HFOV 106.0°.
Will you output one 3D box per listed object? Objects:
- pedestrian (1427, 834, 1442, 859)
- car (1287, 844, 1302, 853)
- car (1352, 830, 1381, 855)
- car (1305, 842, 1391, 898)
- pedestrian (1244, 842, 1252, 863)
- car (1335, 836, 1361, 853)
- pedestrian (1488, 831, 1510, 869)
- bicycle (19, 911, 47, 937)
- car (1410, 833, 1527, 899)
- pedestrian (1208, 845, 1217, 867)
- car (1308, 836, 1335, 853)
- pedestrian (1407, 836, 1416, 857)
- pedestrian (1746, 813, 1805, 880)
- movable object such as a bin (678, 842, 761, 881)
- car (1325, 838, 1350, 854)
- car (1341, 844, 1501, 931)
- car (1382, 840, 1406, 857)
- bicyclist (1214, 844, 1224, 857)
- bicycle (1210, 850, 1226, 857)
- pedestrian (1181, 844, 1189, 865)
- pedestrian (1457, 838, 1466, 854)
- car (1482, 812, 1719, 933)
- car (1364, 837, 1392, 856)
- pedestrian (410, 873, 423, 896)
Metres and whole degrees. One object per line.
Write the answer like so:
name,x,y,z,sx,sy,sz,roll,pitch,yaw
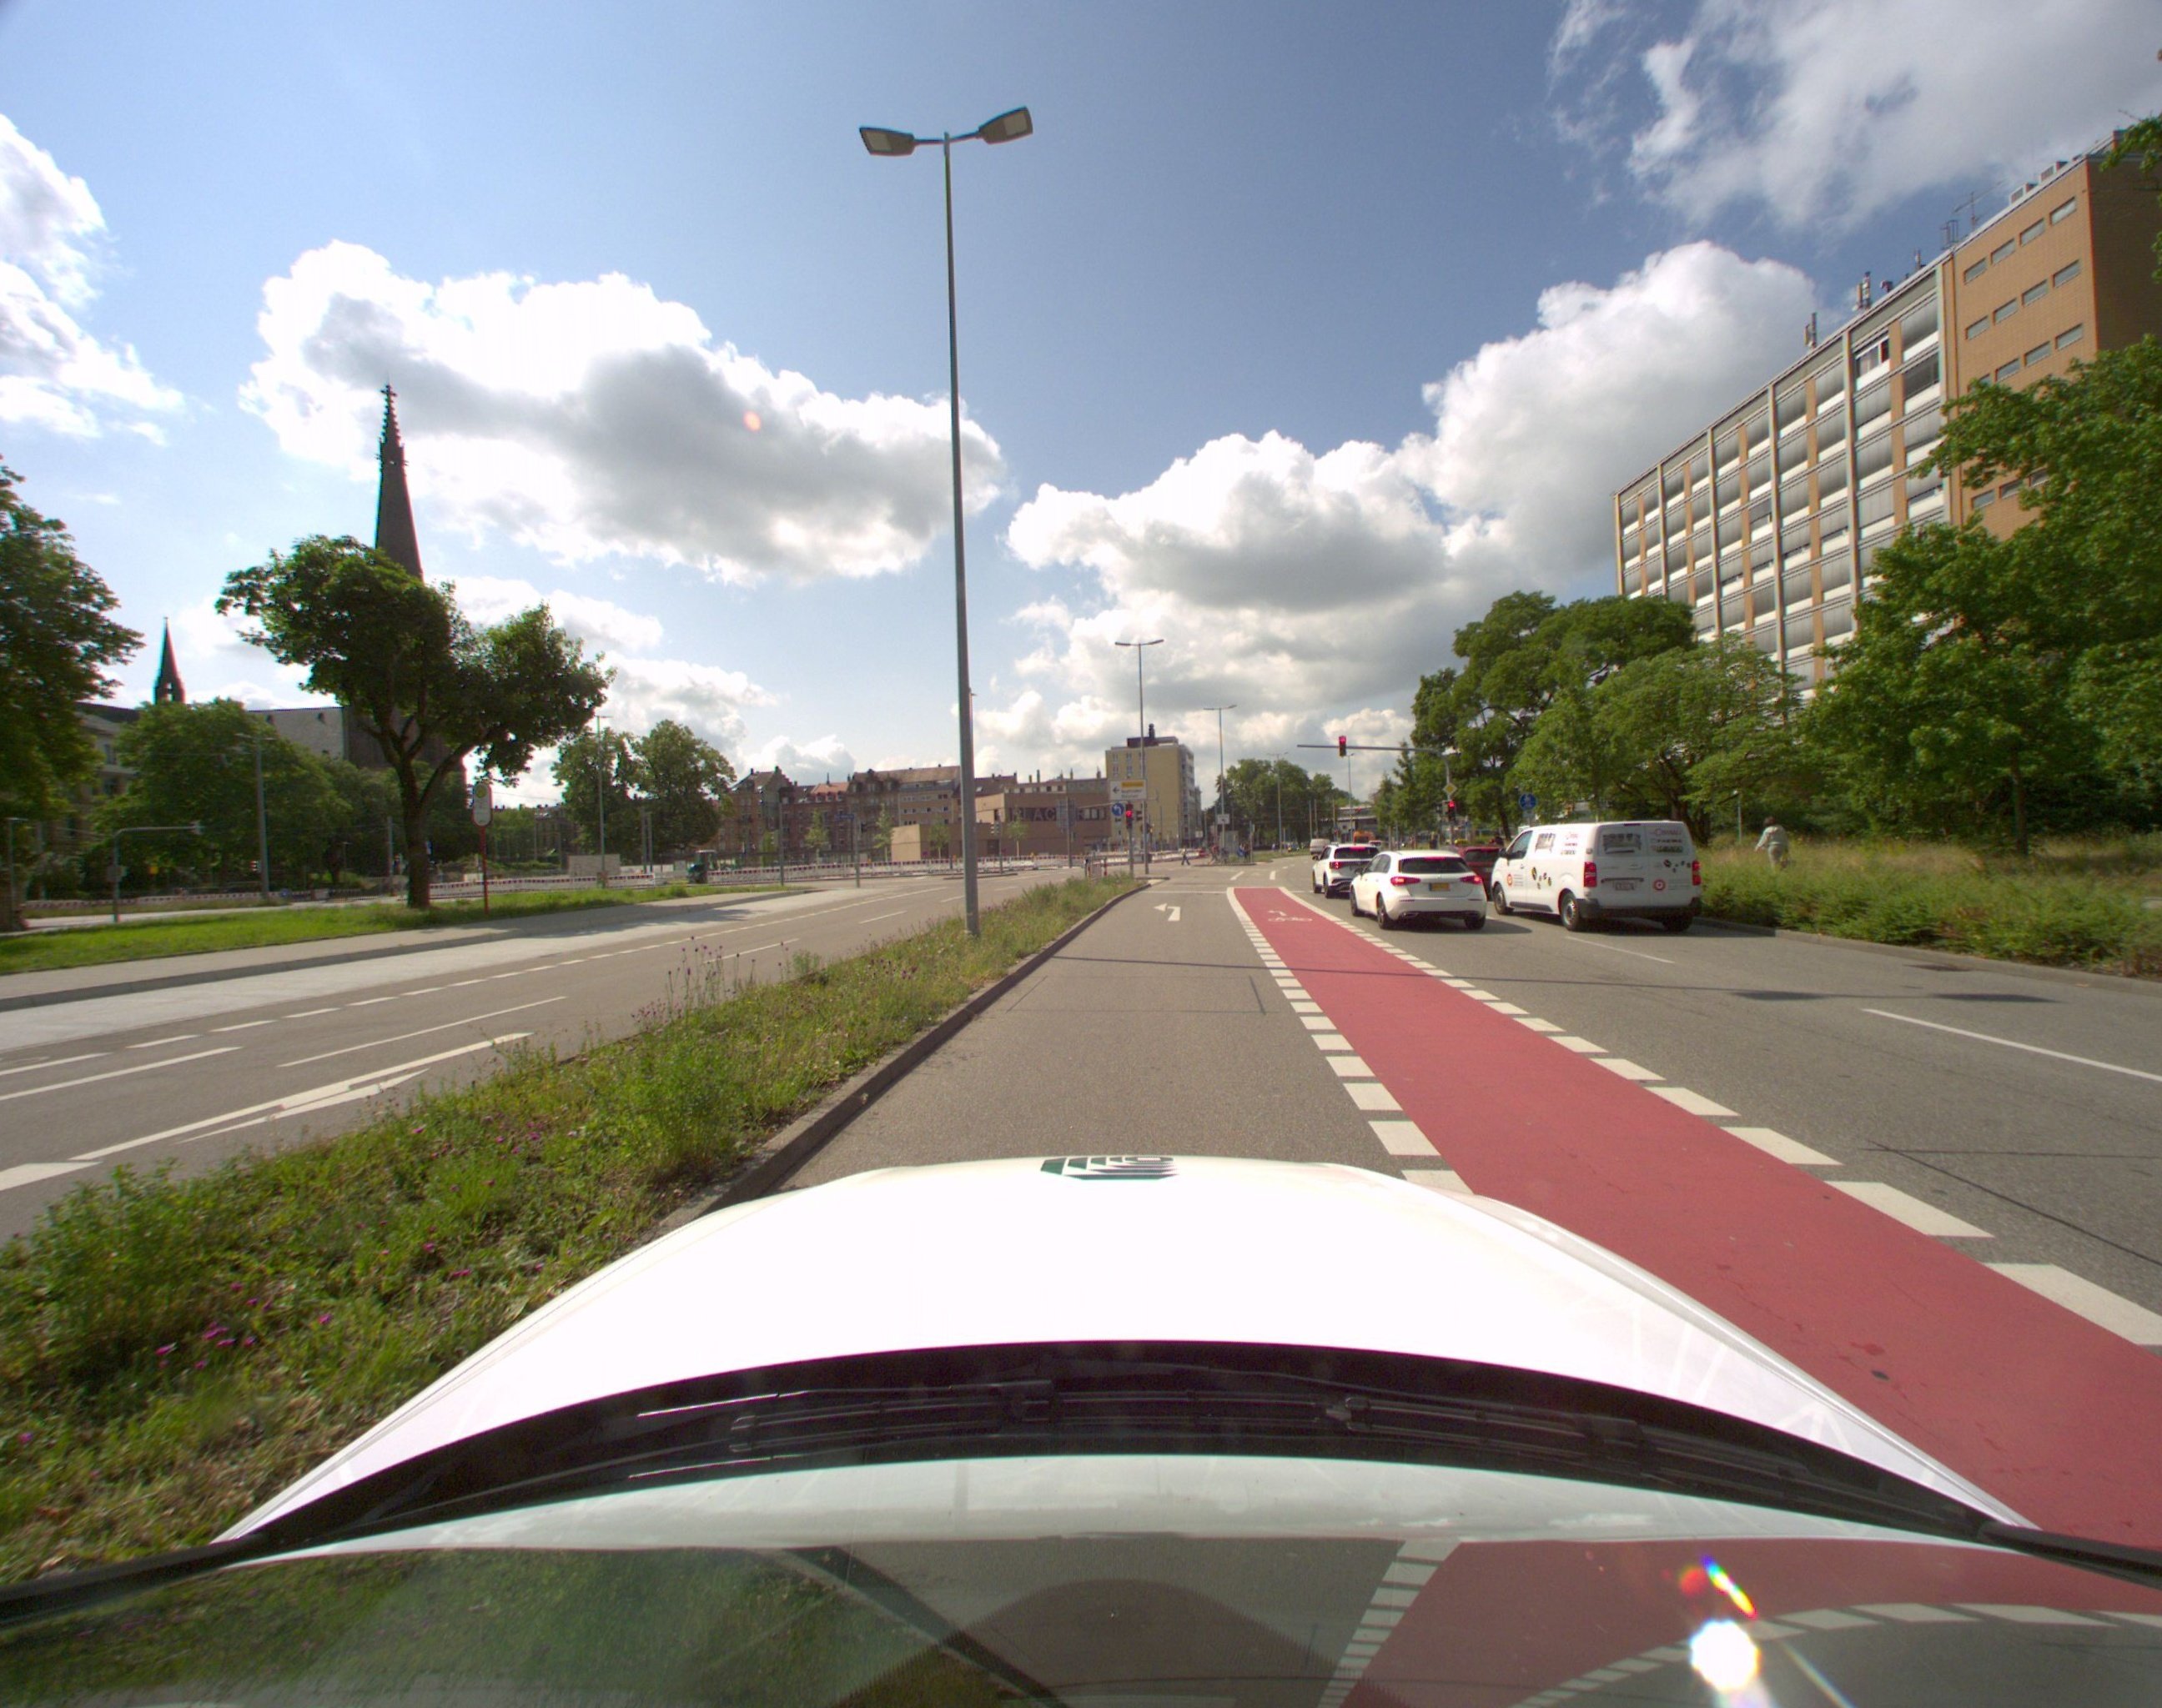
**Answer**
pedestrian,22.091,-0.485,50.888,0.765,1.508,0.554,-2,0,13
car,34.460,-0.933,131.311,1.777,1.388,4.249,-2,0,20
car,32.757,-1.335,93.426,2.109,2.780,4.668,-3,0,31
car,7.927,0.414,24.496,1.781,1.539,4.020,-1,1,8
pedestrian,13.526,-0.154,66.109,0.520,1.684,0.626,-2,0,17
car,32.279,-1.161,98.436,1.974,1.826,4.026,-3,0,33
pedestrian,19.434,-0.168,37.884,0.737,1.735,0.681,-2,0,14
bicycle,-43.421,2.877,33.758,0.396,0.992,1.504,-2,-1,-41
car,10.777,0.286,22.986,1.671,1.641,4.473,-2,0,8
pedestrian,10.485,0.183,64.985,0.520,1.733,0.626,-2,0,17
car,29.831,-1.138,100.755,1.986,1.966,4.668,-3,0,31
pedestrian,27.419,-0.619,67.545,0.654,1.733,0.581,-2,0,19
pedestrian,17.788,-0.192,20.884,0.863,1.638,0.723,-2,0,9
movable object such as a bin,-28.889,0.605,65.223,5.571,2.884,2.261,-2,0,-39
car,34.139,-1.086,108.215,1.972,1.938,4.668,-3,0,31
car,6.534,0.562,16.202,1.893,1.424,4.395,-2,0,8
car,40.194,-0.734,104.641,1.972,1.938,4.668,-3,0,31
bicyclist,21.601,-0.524,127.501,1.208,1.909,0.864,-2,0,28
bicycle,21.450,-0.098,127.581,2.356,1.066,0.864,-2,0,28
pedestrian,8.528,0.019,66.919,0.520,1.733,0.626,-2,0,17
pedestrian,42.753,-0.907,91.501,0.780,1.784,0.671,-2,0,35
car,9.492,0.273,15.455,1.931,1.870,4.837,-2,0,8
car,31.147,-0.801,85.385,1.974,1.795,4.025,-3,0,31
pedestrian,-53.019,2.422,64.972,0.523,1.850,0.501,-3,0,14
